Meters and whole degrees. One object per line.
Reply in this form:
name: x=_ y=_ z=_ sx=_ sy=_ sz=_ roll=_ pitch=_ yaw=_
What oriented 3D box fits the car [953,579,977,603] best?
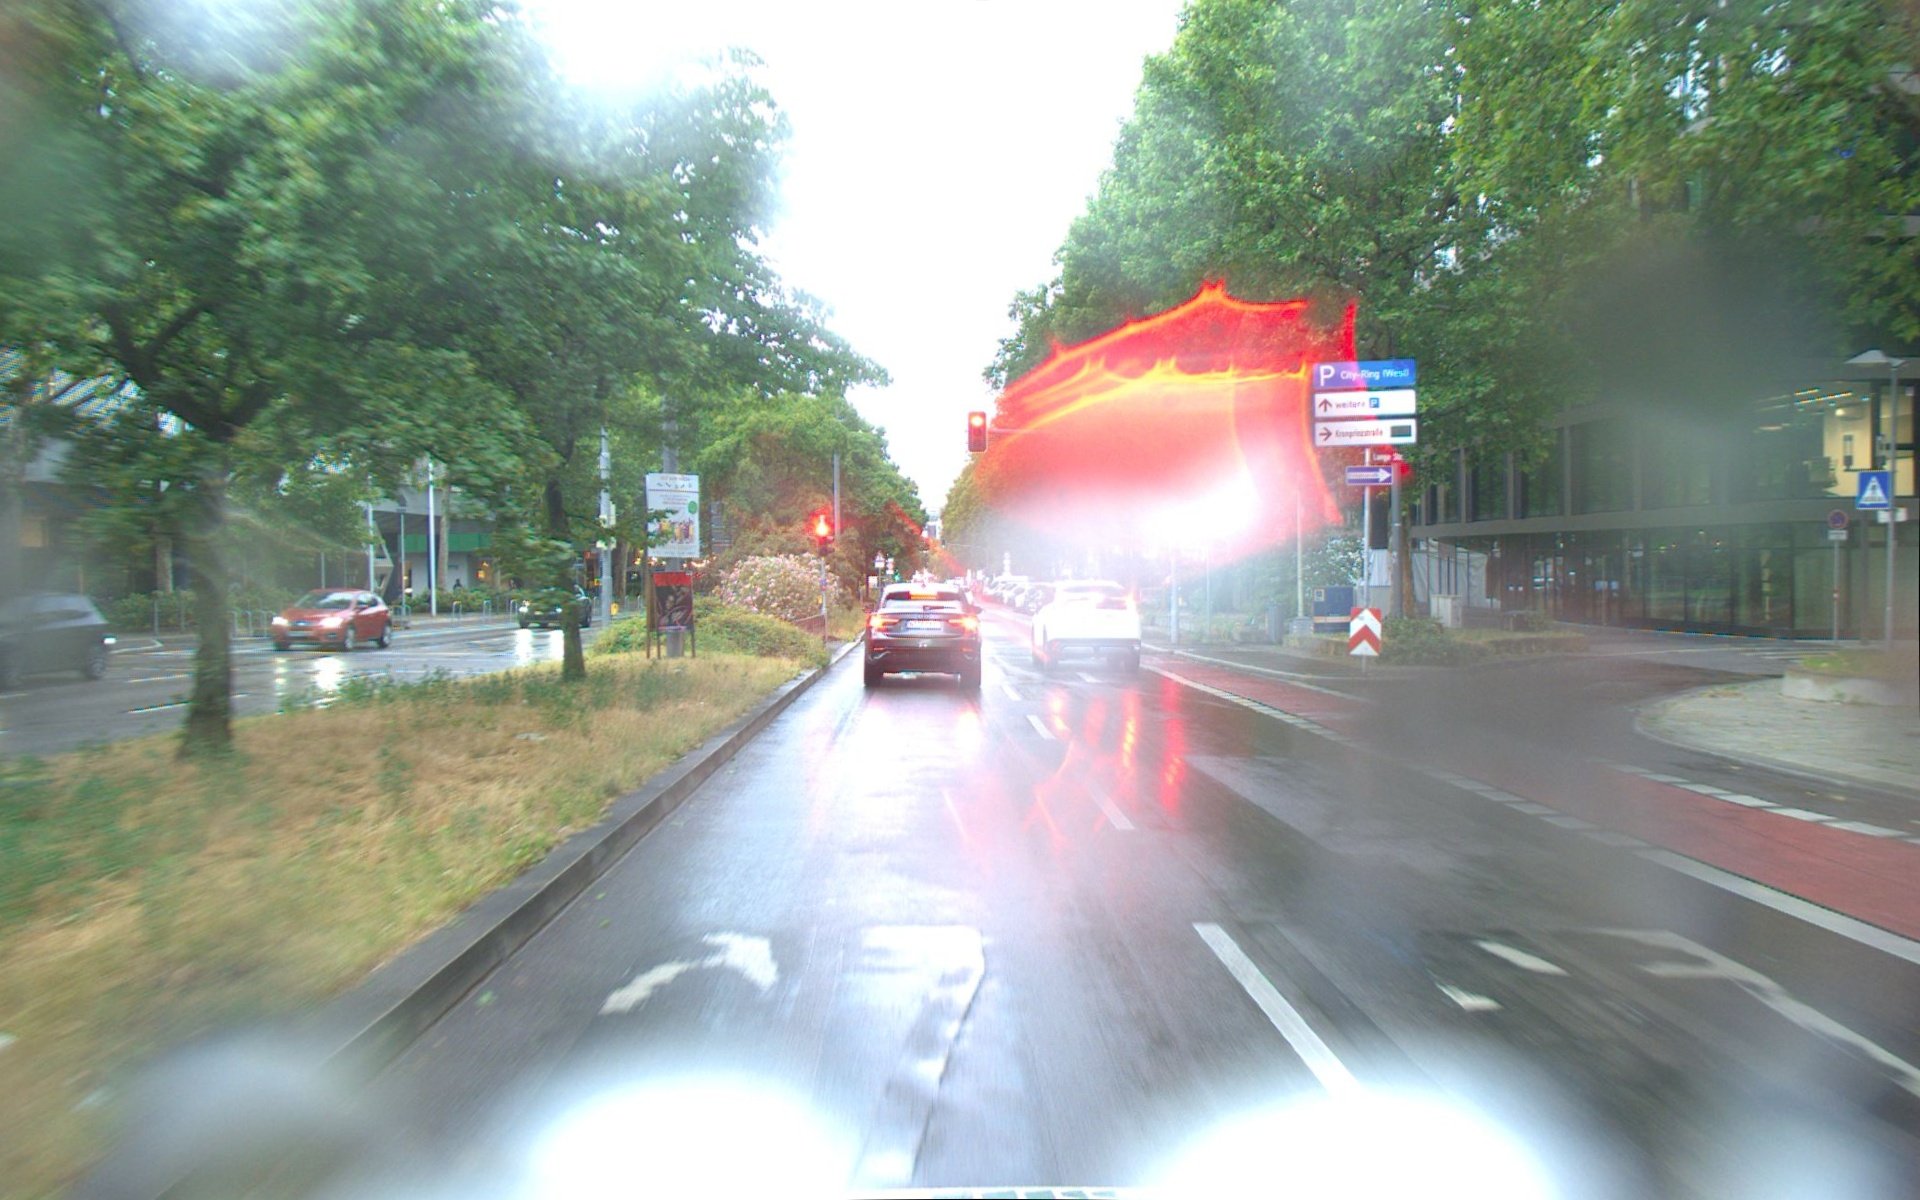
car: x=0.367 y=-0.673 z=119.241 sx=1.588 sy=1.695 sz=3.999 roll=-1 pitch=1 yaw=-2

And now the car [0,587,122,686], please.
car: x=-14.964 y=0.528 z=25.808 sx=1.806 sy=1.413 sz=3.999 roll=-1 pitch=1 yaw=-2

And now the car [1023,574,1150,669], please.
car: x=2.374 y=0.351 z=32.200 sx=1.953 sy=1.684 sz=4.887 roll=0 pitch=1 yaw=-2

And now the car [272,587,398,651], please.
car: x=-15.170 y=0.419 z=40.375 sx=1.582 sy=1.418 sz=4.183 roll=0 pitch=1 yaw=-2

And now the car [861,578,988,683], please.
car: x=-0.580 y=0.418 z=26.414 sx=1.880 sy=1.517 sz=3.999 roll=0 pitch=1 yaw=-2

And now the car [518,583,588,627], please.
car: x=-15.156 y=0.155 z=61.717 sx=1.793 sy=1.579 sz=4.186 roll=0 pitch=1 yaw=-4
